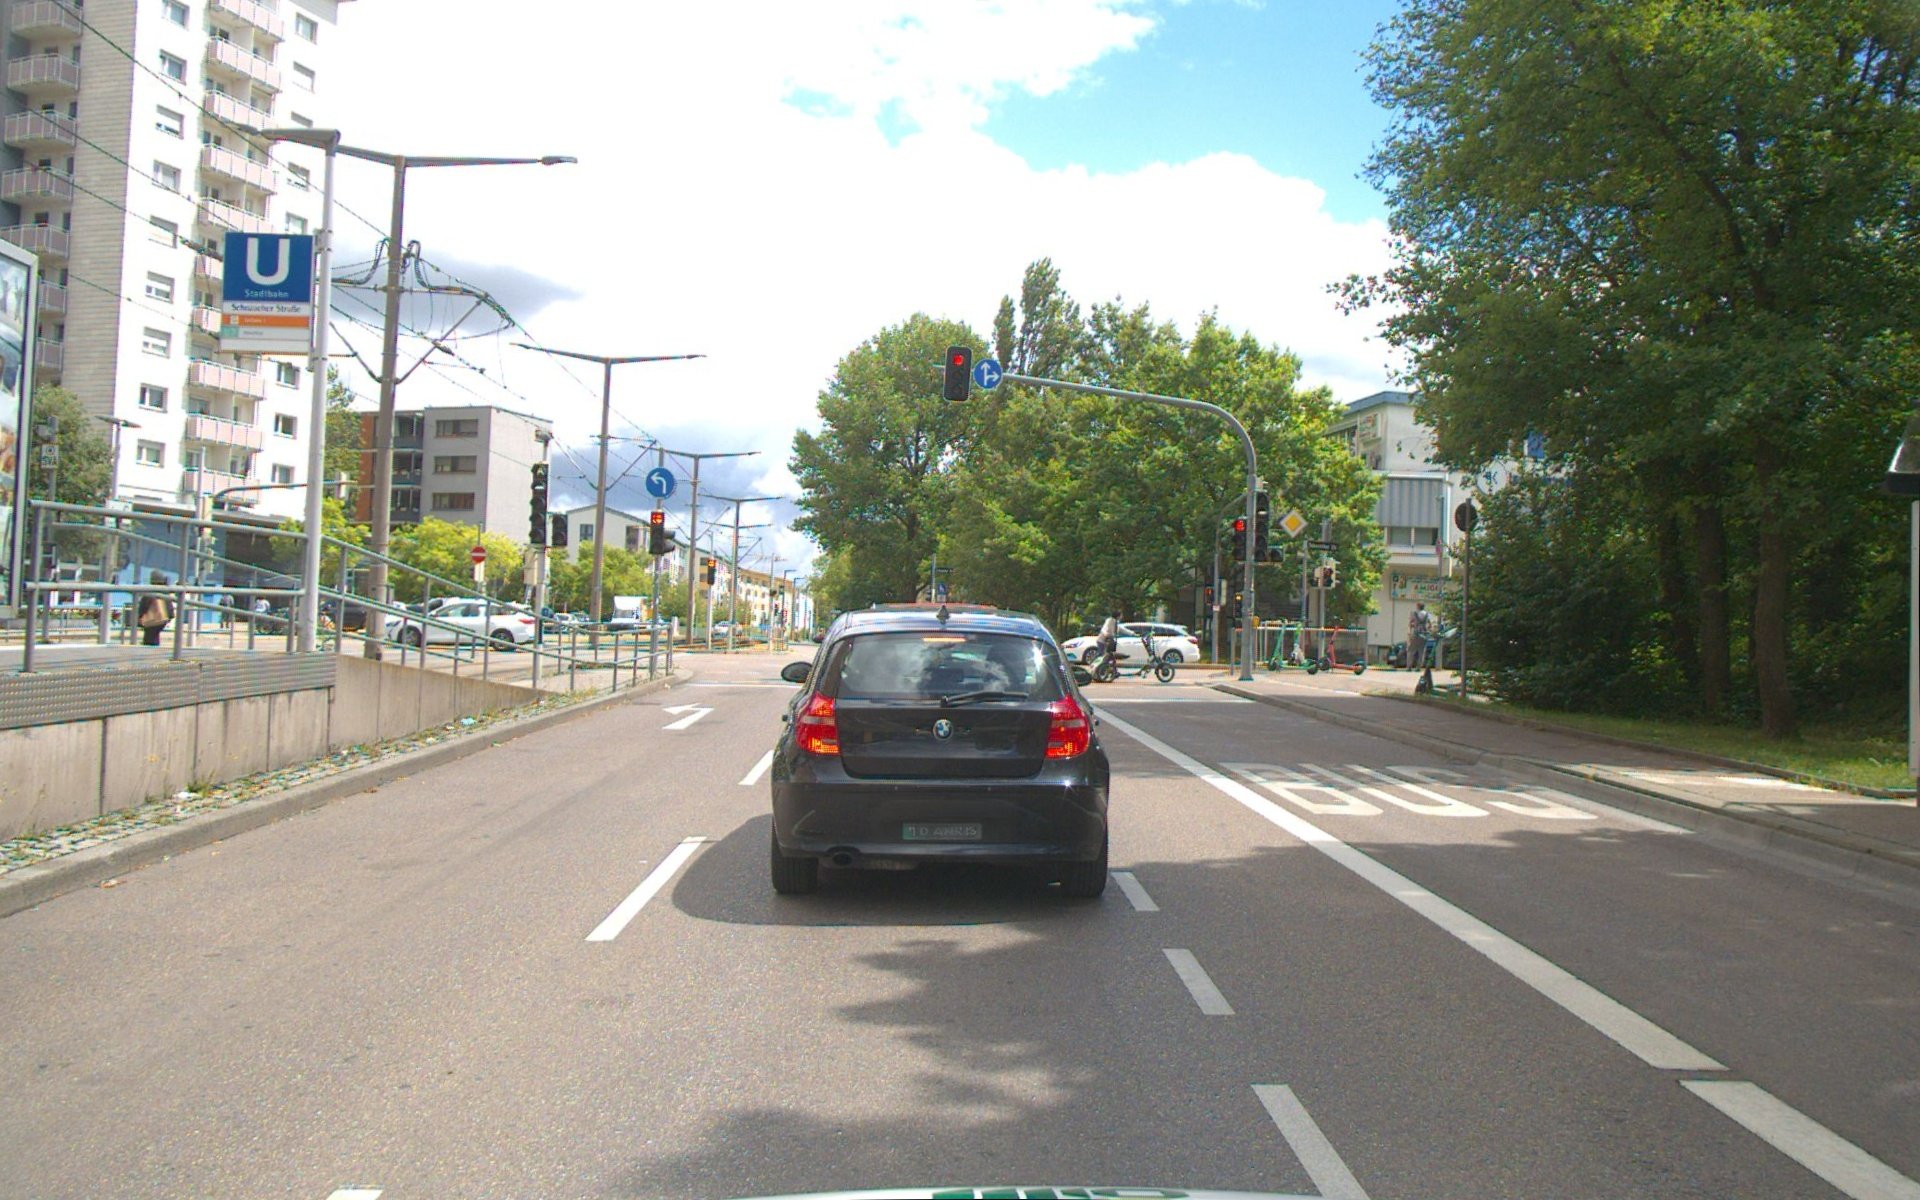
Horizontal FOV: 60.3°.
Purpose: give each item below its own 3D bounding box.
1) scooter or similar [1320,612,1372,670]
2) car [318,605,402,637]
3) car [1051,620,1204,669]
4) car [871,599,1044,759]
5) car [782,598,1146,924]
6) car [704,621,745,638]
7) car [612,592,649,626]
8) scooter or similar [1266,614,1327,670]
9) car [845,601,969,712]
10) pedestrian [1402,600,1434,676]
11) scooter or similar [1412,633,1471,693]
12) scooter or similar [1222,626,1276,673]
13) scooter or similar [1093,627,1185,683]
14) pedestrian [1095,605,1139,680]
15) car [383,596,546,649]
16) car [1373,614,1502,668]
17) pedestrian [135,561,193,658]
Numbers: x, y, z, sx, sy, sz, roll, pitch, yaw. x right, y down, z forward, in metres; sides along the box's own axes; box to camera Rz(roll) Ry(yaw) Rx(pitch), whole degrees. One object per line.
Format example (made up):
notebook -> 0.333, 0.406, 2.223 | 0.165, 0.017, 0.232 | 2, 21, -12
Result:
scooter or similar -> 8.656, 0.925, 37.095 | 1.087, 1.280, 0.331 | 1, 0, -13
car -> -29.173, 1.024, 80.506 | 3.537, 1.488, 1.613 | 1, 0, -9
car -> 5.383, 1.439, 53.479 | 4.554, 1.506, 1.995 | 1, 0, -10
car -> -0.027, 0.723, 16.890 | 1.562, 1.443, 3.517 | 1, 0, 0
car -> 0.045, 0.726, 9.221 | 1.620, 1.443, 3.517 | 1, 0, 1
car -> -23.640, 2.983, 166.257 | 1.932, 1.624, 3.988 | 1, 0, 33
car -> -26.987, 0.692, 135.470 | 2.096, 2.686, 5.356 | 1, 0, -2
scooter or similar -> 7.371, 0.930, 36.249 | 1.267, 1.210, 0.383 | 1, 0, -17
car -> -0.772, 0.755, 23.748 | 1.621, 1.443, 3.515 | 1, 0, -2
pedestrian -> 11.357, 0.937, 41.012 | 0.600, 1.821, 0.569 | 4, -1, 18
scooter or similar -> 9.272, 1.210, 31.831 | 1.133, 1.118, 0.329 | 1, 0, -25
scooter or similar -> 6.105, 1.038, 34.962 | 1.102, 0.974, 0.299 | 1, 0, -17
scooter or similar -> 3.521, 1.080, 32.623 | 1.747, 1.069, 0.410 | 1, 0, -8
pedestrian -> 3.117, 0.833, 32.969 | 0.847, 1.468, 0.799 | 1, 0, 4
car -> -14.872, 0.675, 49.866 | 4.491, 1.553, 1.939 | 1, 0, -12
car -> 14.880, 1.277, 51.599 | 3.515, 1.629, 1.706 | 1, -1, -13
pedestrian -> -13.821, 0.158, 28.733 | 0.686, 1.661, 0.638 | 0, 0, 0
